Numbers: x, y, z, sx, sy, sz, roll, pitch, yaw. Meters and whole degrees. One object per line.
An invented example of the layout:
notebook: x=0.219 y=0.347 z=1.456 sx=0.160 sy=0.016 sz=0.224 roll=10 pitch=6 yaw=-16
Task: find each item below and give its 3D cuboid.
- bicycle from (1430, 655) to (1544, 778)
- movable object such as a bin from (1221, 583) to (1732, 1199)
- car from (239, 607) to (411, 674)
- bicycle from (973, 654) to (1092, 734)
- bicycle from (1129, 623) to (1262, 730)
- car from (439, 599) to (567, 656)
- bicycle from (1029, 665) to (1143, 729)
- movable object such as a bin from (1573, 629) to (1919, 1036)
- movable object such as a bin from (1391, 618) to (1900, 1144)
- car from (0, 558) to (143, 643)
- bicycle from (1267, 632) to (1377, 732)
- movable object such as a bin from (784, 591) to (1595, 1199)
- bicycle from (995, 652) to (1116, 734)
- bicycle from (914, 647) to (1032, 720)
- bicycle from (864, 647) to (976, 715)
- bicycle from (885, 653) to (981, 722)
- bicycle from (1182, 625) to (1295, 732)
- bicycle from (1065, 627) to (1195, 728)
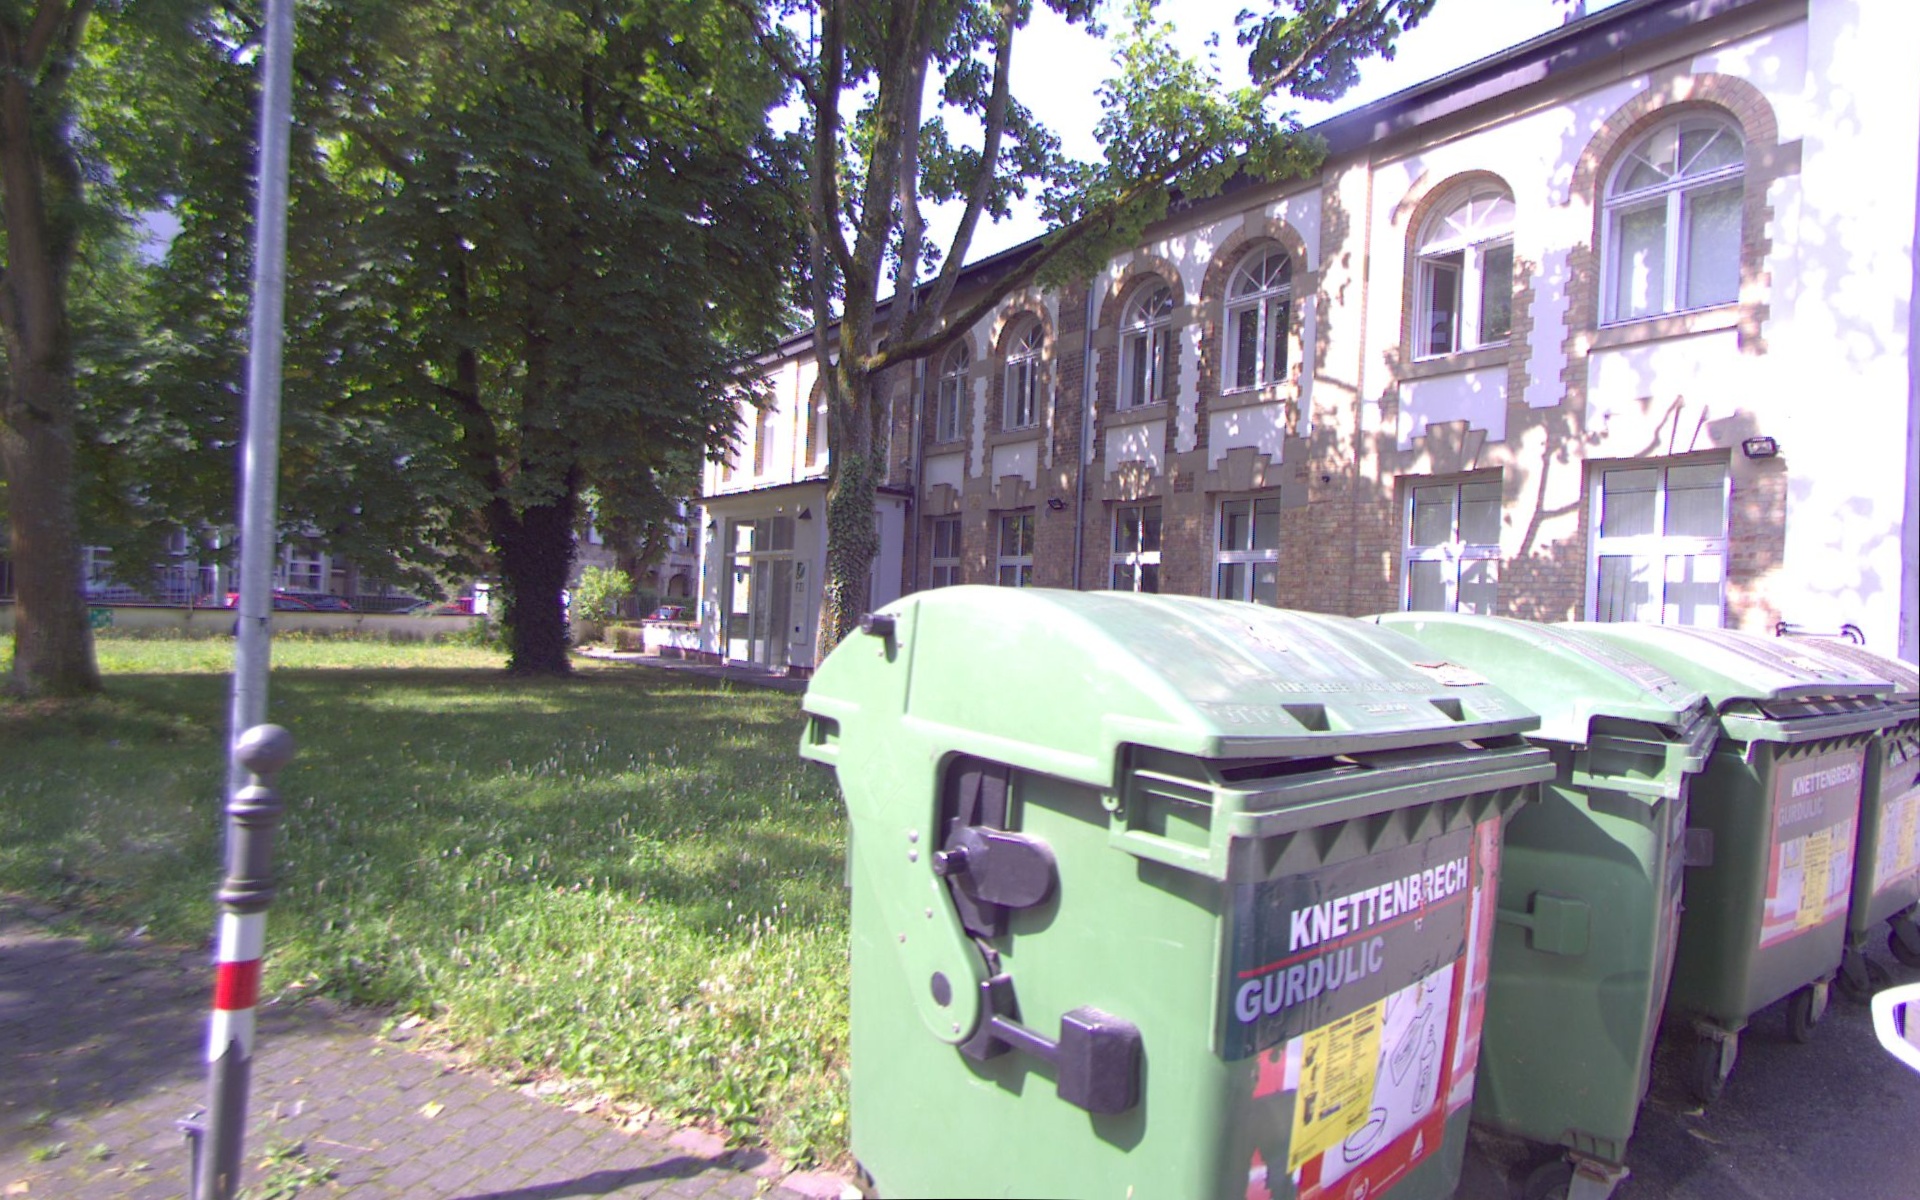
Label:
bicycle: x=5.280 y=1.119 z=10.013 sx=1.844 sy=1.051 sz=0.316 roll=0 pitch=1 yaw=-40
movable object such as a bin: x=1.514 y=0.689 z=2.883 sx=1.086 sy=1.471 sz=1.228 roll=1 pitch=2 yaw=38
car: x=-16.984 y=1.142 z=27.052 sx=1.648 sy=1.632 sz=3.583 roll=-3 pitch=-5 yaw=24
bicycle: x=1.147 y=1.423 z=15.525 sx=2.046 sy=1.070 sz=0.416 roll=-1 pitch=2 yaw=-35
bicycle: x=3.067 y=0.945 z=12.956 sx=2.046 sy=1.232 sz=0.416 roll=-1 pitch=2 yaw=-35
car: x=-14.714 y=0.944 z=32.529 sx=1.648 sy=1.632 sz=3.583 roll=-3 pitch=-5 yaw=24
bicycle: x=1.833 y=1.377 z=14.423 sx=1.839 sy=0.715 sz=0.317 roll=-3 pitch=3 yaw=-33
movable object such as a bin: x=3.735 y=0.914 z=4.665 sx=1.330 sy=1.471 sz=1.092 roll=-1 pitch=2 yaw=-36
movable object such as a bin: x=2.545 y=0.835 z=3.785 sx=1.270 sy=1.471 sz=1.216 roll=-1 pitch=2 yaw=-35
car: x=-20.016 y=0.042 z=21.462 sx=1.648 sy=1.632 sz=3.583 roll=-3 pitch=-5 yaw=24
bicycle: x=4.259 y=0.922 z=11.754 sx=1.844 sy=1.051 sz=0.316 roll=0 pitch=1 yaw=-40
movable object such as a bin: x=0.493 y=0.727 z=2.109 sx=1.333 sy=1.471 sz=1.089 roll=-1 pitch=2 yaw=-41
bicycle: x=1.473 y=1.372 z=15.168 sx=2.046 sy=1.070 sz=0.416 roll=-1 pitch=2 yaw=-35
bicycle: x=0.241 y=1.344 z=16.492 sx=2.046 sy=1.070 sz=0.416 roll=-1 pitch=-2 yaw=-35
bicycle: x=-0.691 y=1.424 z=17.857 sx=2.046 sy=1.070 sz=0.416 roll=-1 pitch=-2 yaw=-35
bicycle: x=-0.432 y=1.469 z=17.168 sx=1.844 sy=1.051 sz=0.316 roll=0 pitch=1 yaw=-40
bicycle: x=3.437 y=0.921 z=12.285 sx=1.844 sy=1.158 sz=0.354 roll=-1 pitch=2 yaw=-40
bicycle: x=2.384 y=1.038 z=13.924 sx=2.046 sy=1.138 sz=0.416 roll=-5 pitch=4 yaw=-35
